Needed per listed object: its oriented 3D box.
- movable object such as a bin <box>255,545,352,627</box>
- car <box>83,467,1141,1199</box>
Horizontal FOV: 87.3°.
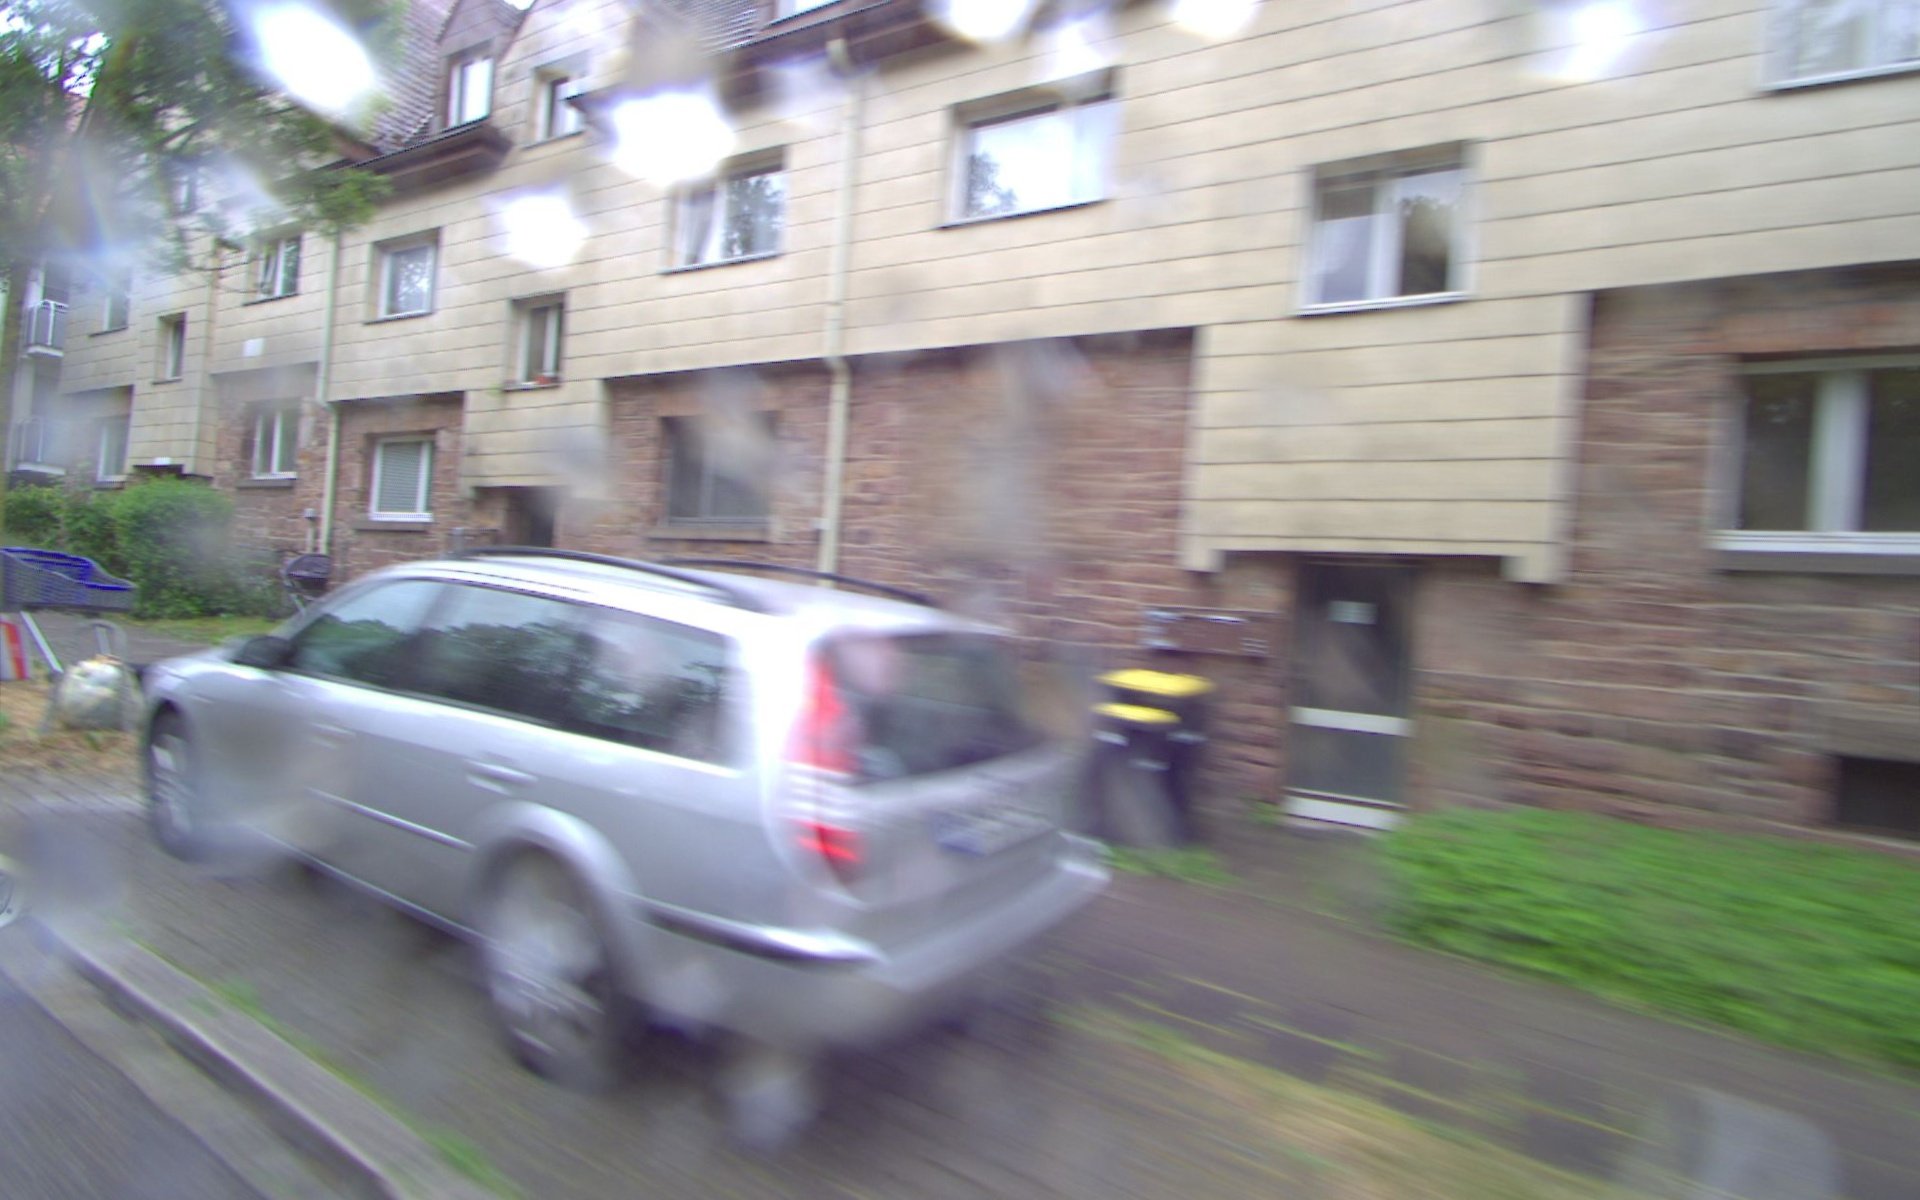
[{"bbox_3d":[-9.000,-0.189,13.798,0.926,0.977,0.701,7,-1,32],"label":"movable object such as a bin"},{"bbox_3d":[-1.770,0.435,4.242,4.566,1.606,1.700,8,4,33],"label":"car"}]
